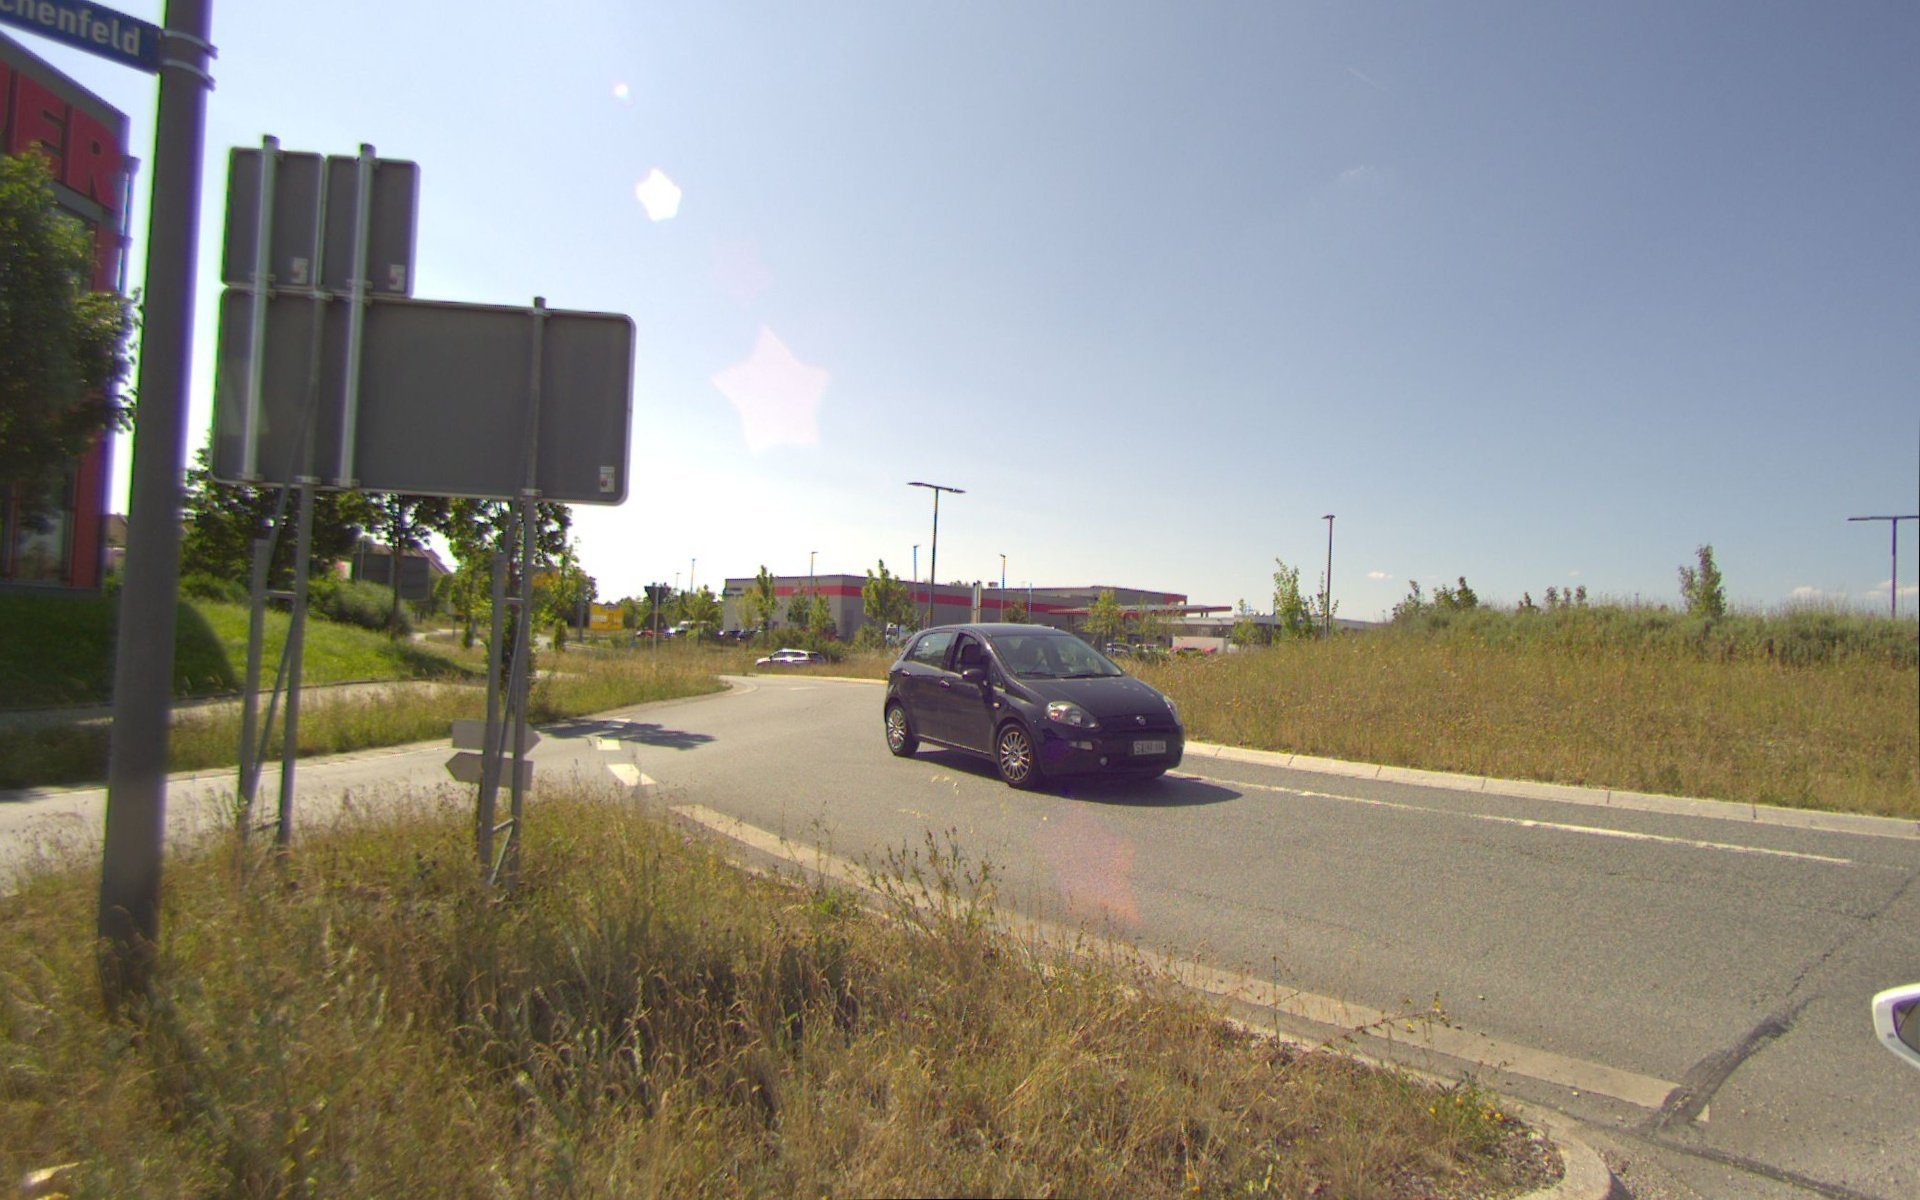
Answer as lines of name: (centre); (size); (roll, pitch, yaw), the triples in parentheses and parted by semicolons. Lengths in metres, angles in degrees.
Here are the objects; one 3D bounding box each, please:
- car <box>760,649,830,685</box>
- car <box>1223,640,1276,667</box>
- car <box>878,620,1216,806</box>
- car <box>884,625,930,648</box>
car: (-9.130, 3.661, 55.479); (3.706, 1.795, 1.687); (0, -3, 36)
car: (24.318, 4.512, 84.362); (5.102, 2.040, 1.974); (5, -3, -44)
car: (0.668, 0.983, 10.295); (1.624, 1.507, 3.877); (2, -2, -28)
car: (-4.949, 3.424, 93.960); (3.975, 2.040, 1.974); (4, -3, -45)
